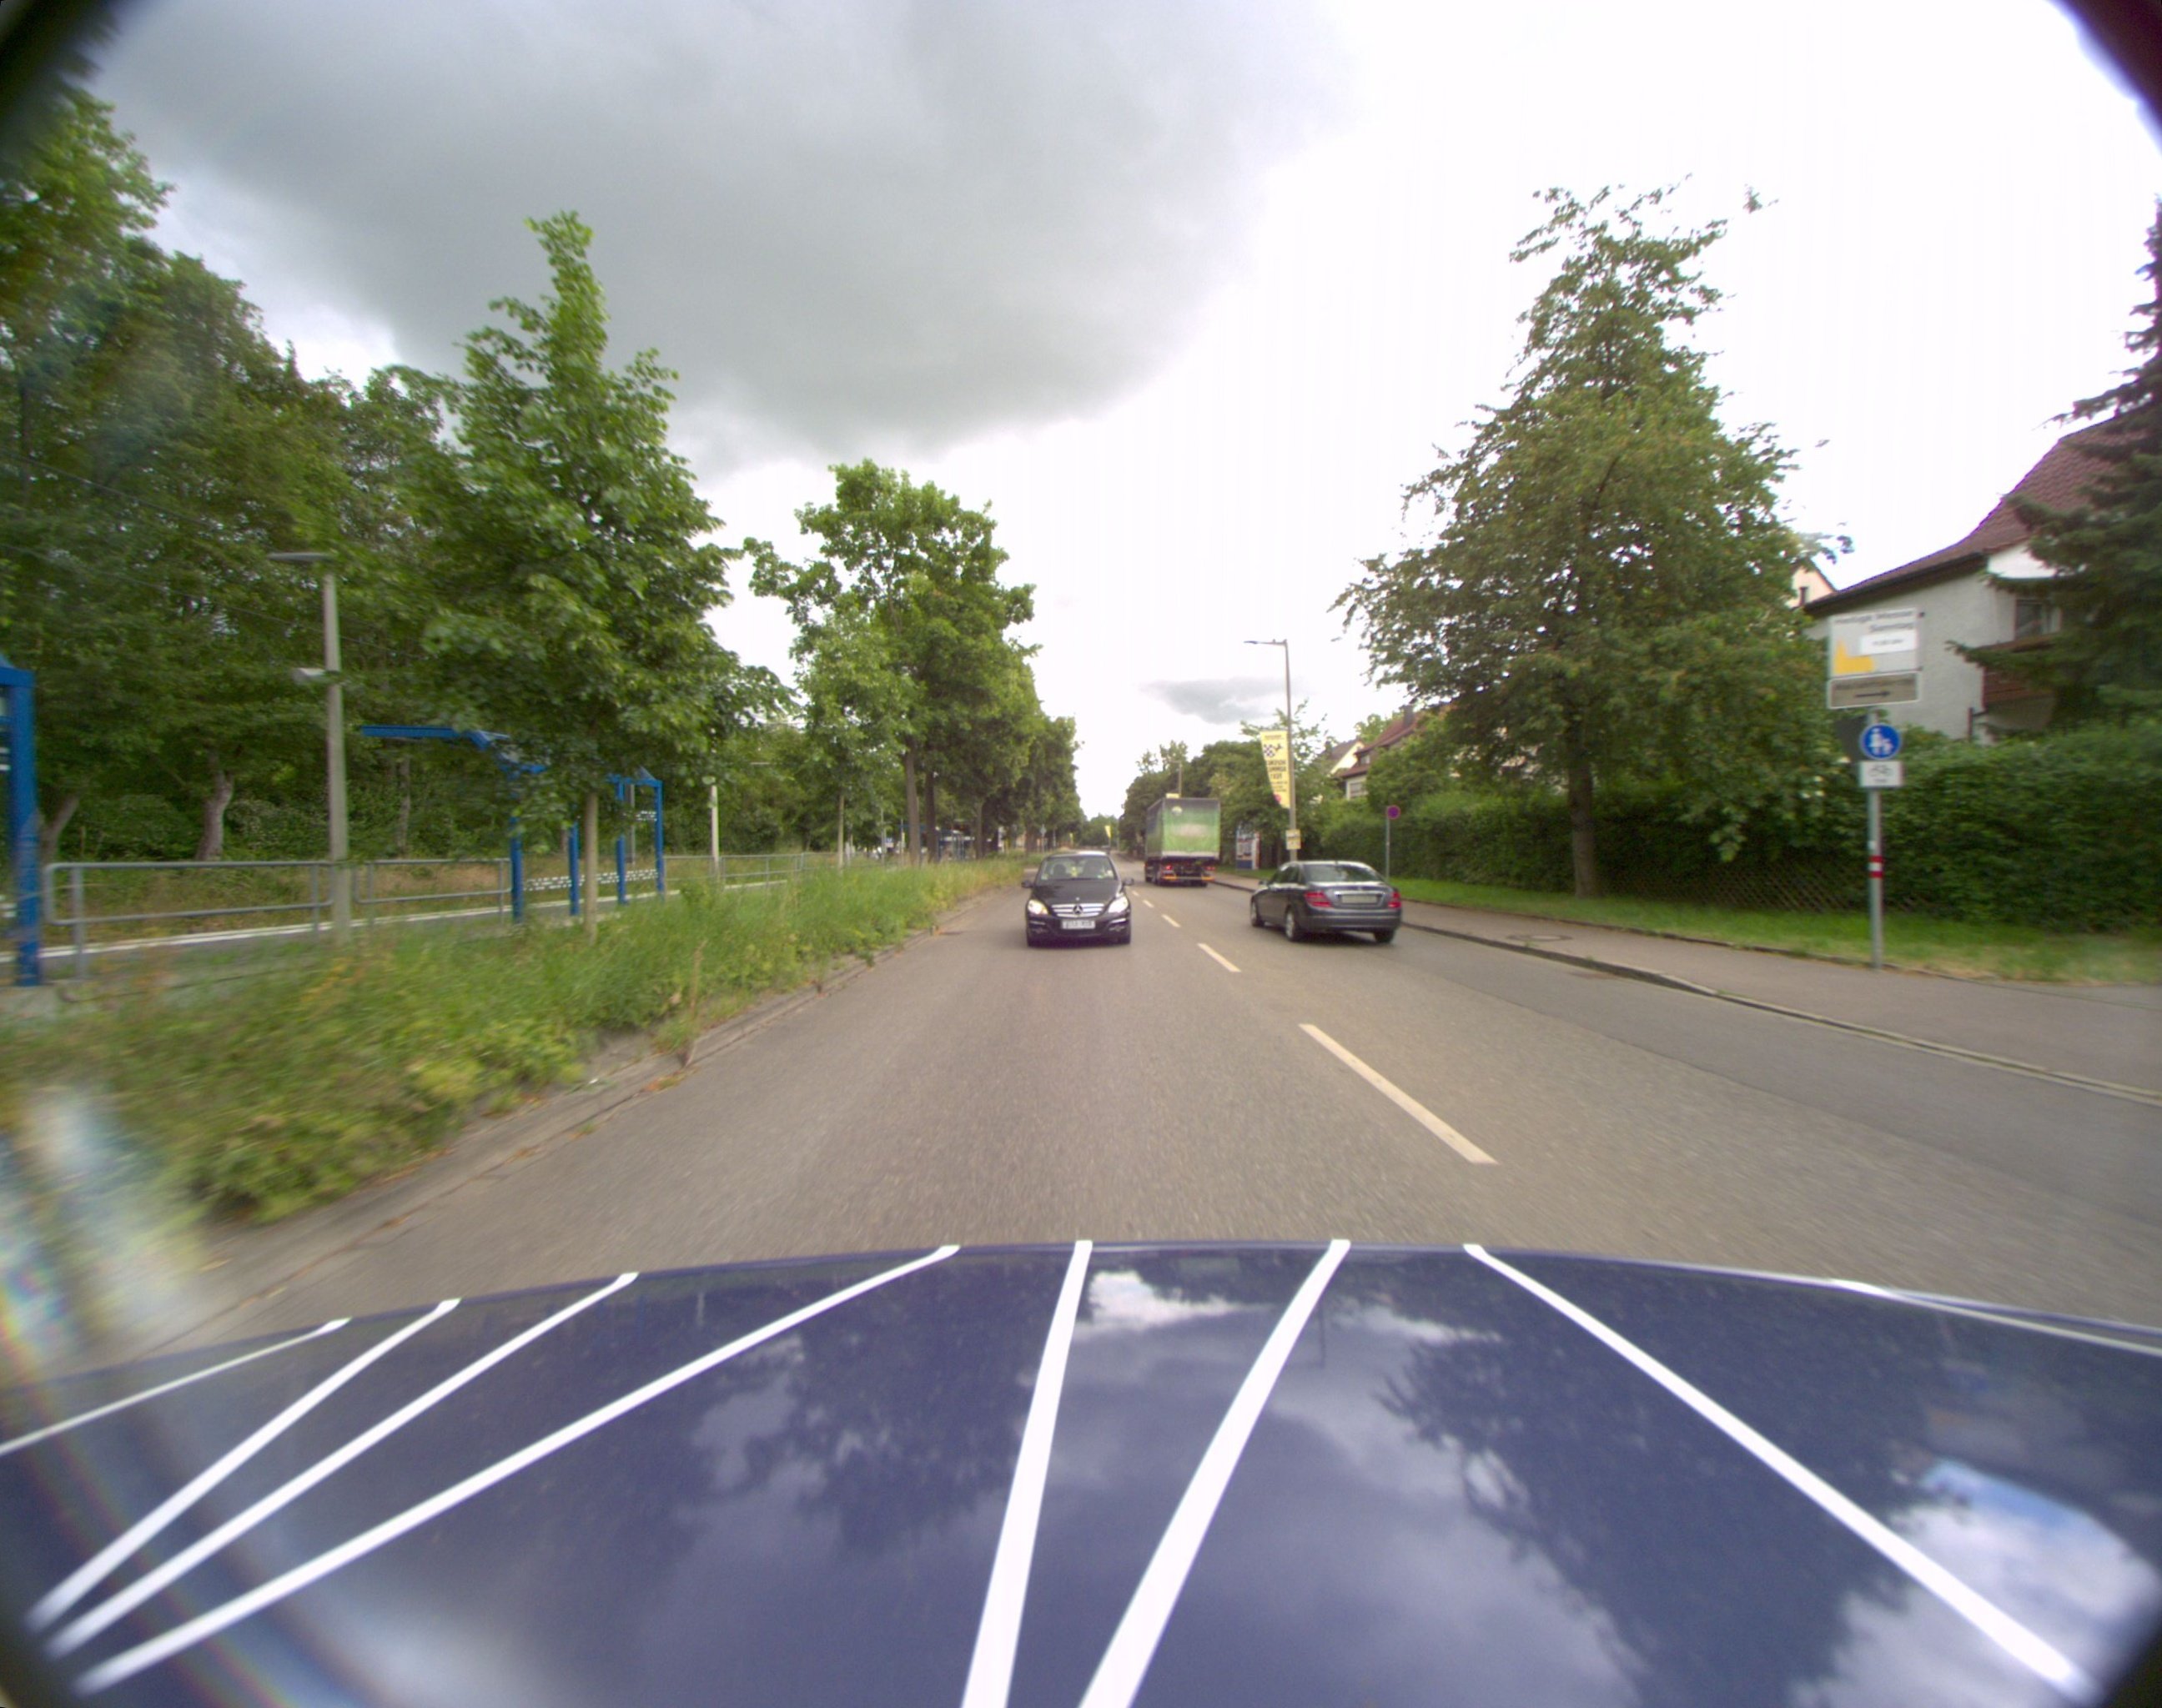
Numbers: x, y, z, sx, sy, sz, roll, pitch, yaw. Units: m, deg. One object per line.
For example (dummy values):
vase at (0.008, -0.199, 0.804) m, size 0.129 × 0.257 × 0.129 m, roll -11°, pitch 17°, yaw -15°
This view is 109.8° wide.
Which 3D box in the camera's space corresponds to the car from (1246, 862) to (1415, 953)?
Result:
car at (4.422, 0.872, 14.187) m, size 1.737 × 1.367 × 4.239 m, roll 1°, pitch 0°, yaw 0°

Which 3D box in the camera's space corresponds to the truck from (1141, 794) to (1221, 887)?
truck at (4.830, -0.680, 38.842) m, size 2.556 × 4.021 × 10.617 m, roll 1°, pitch 1°, yaw 0°

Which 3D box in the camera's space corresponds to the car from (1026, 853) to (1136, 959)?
car at (-0.010, 0.818, 14.214) m, size 1.683 × 1.565 × 4.482 m, roll -2°, pitch 1°, yaw 0°

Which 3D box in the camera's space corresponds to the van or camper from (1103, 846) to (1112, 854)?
van or camper at (6.134, -0.909, 173.943) m, size 1.918 × 1.888 × 4.811 m, roll -1°, pitch 1°, yaw 0°
